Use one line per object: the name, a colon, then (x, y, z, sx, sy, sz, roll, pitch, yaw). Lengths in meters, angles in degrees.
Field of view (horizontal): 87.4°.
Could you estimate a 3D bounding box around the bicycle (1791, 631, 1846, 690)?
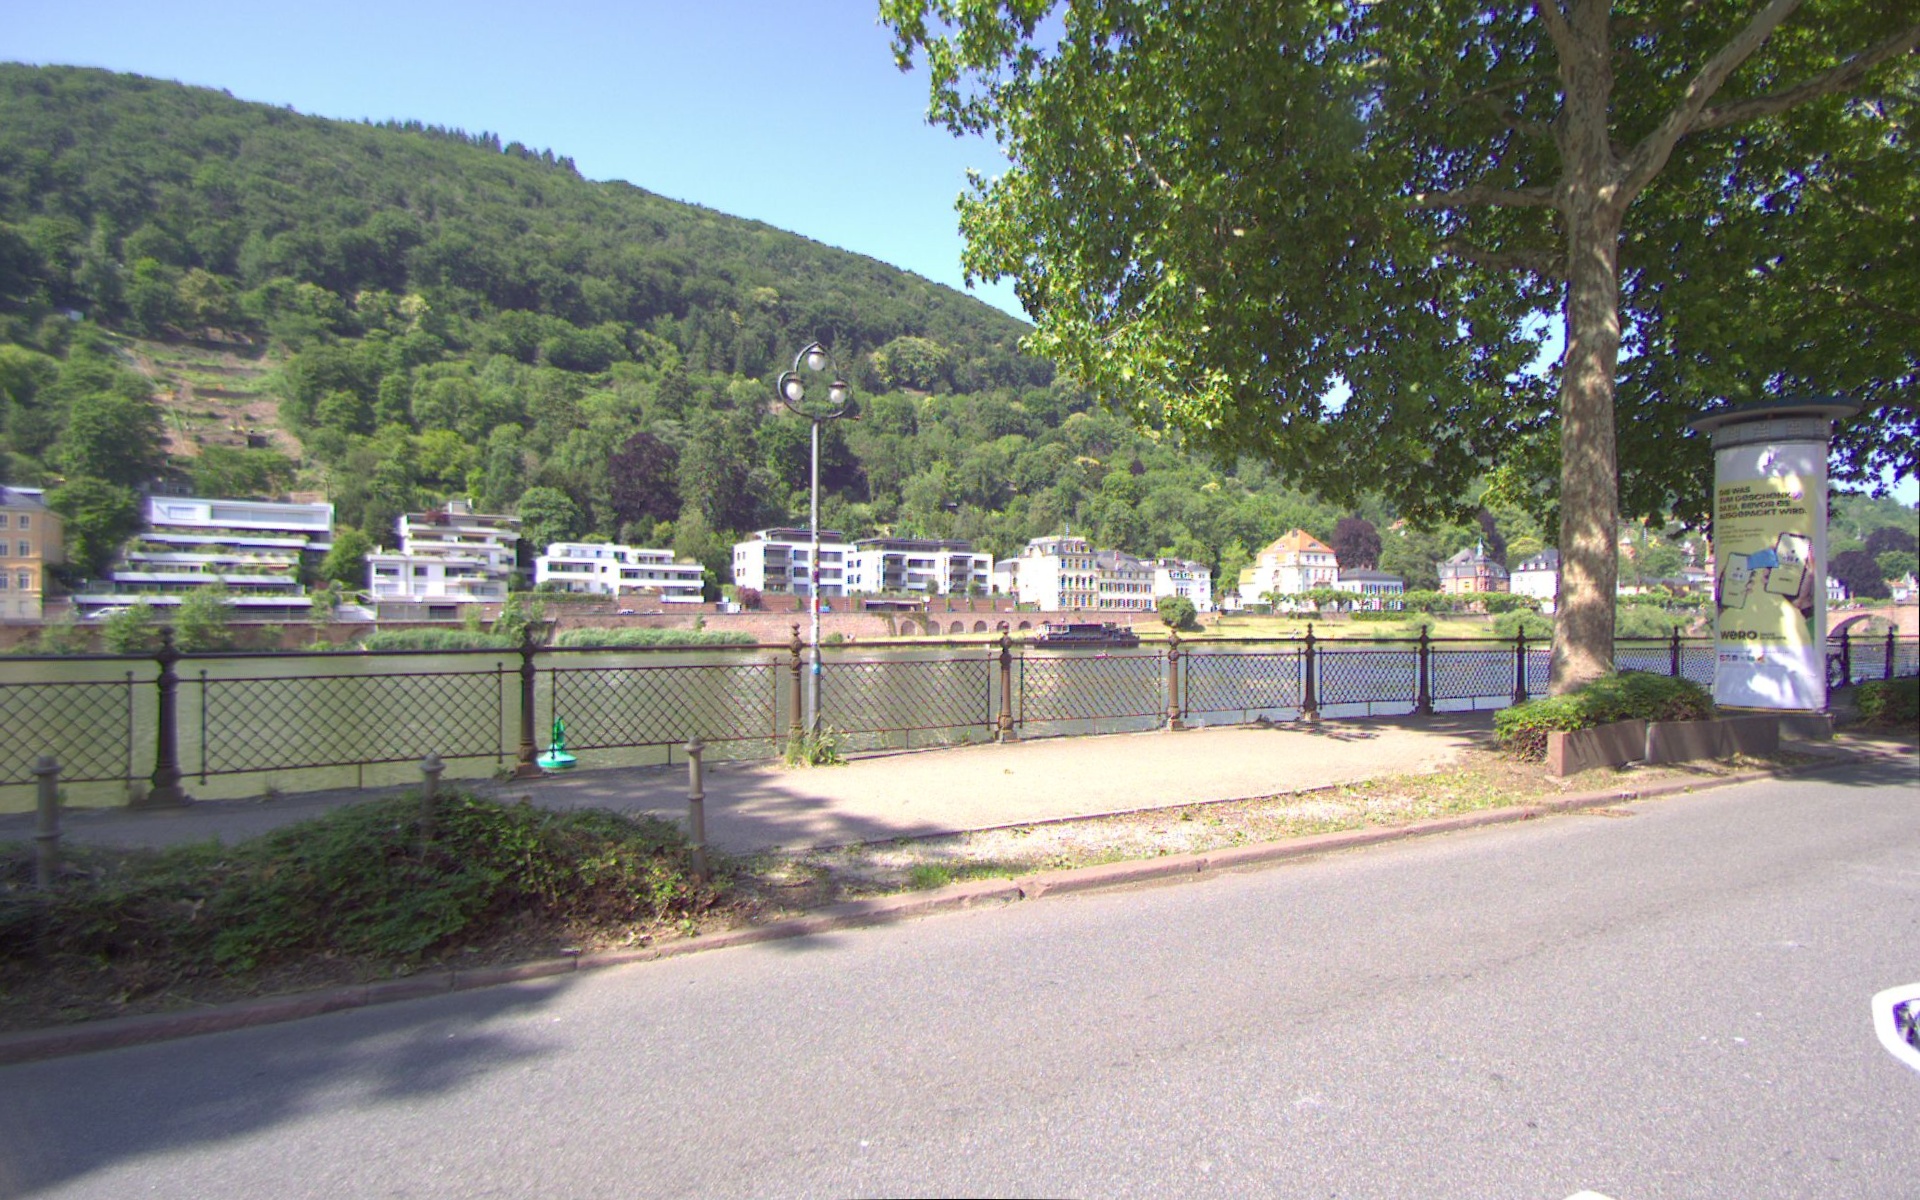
bicycle: (18.015, 1.249, 21.065, 1.806, 1.177, 0.355, 1, 1, -33)
